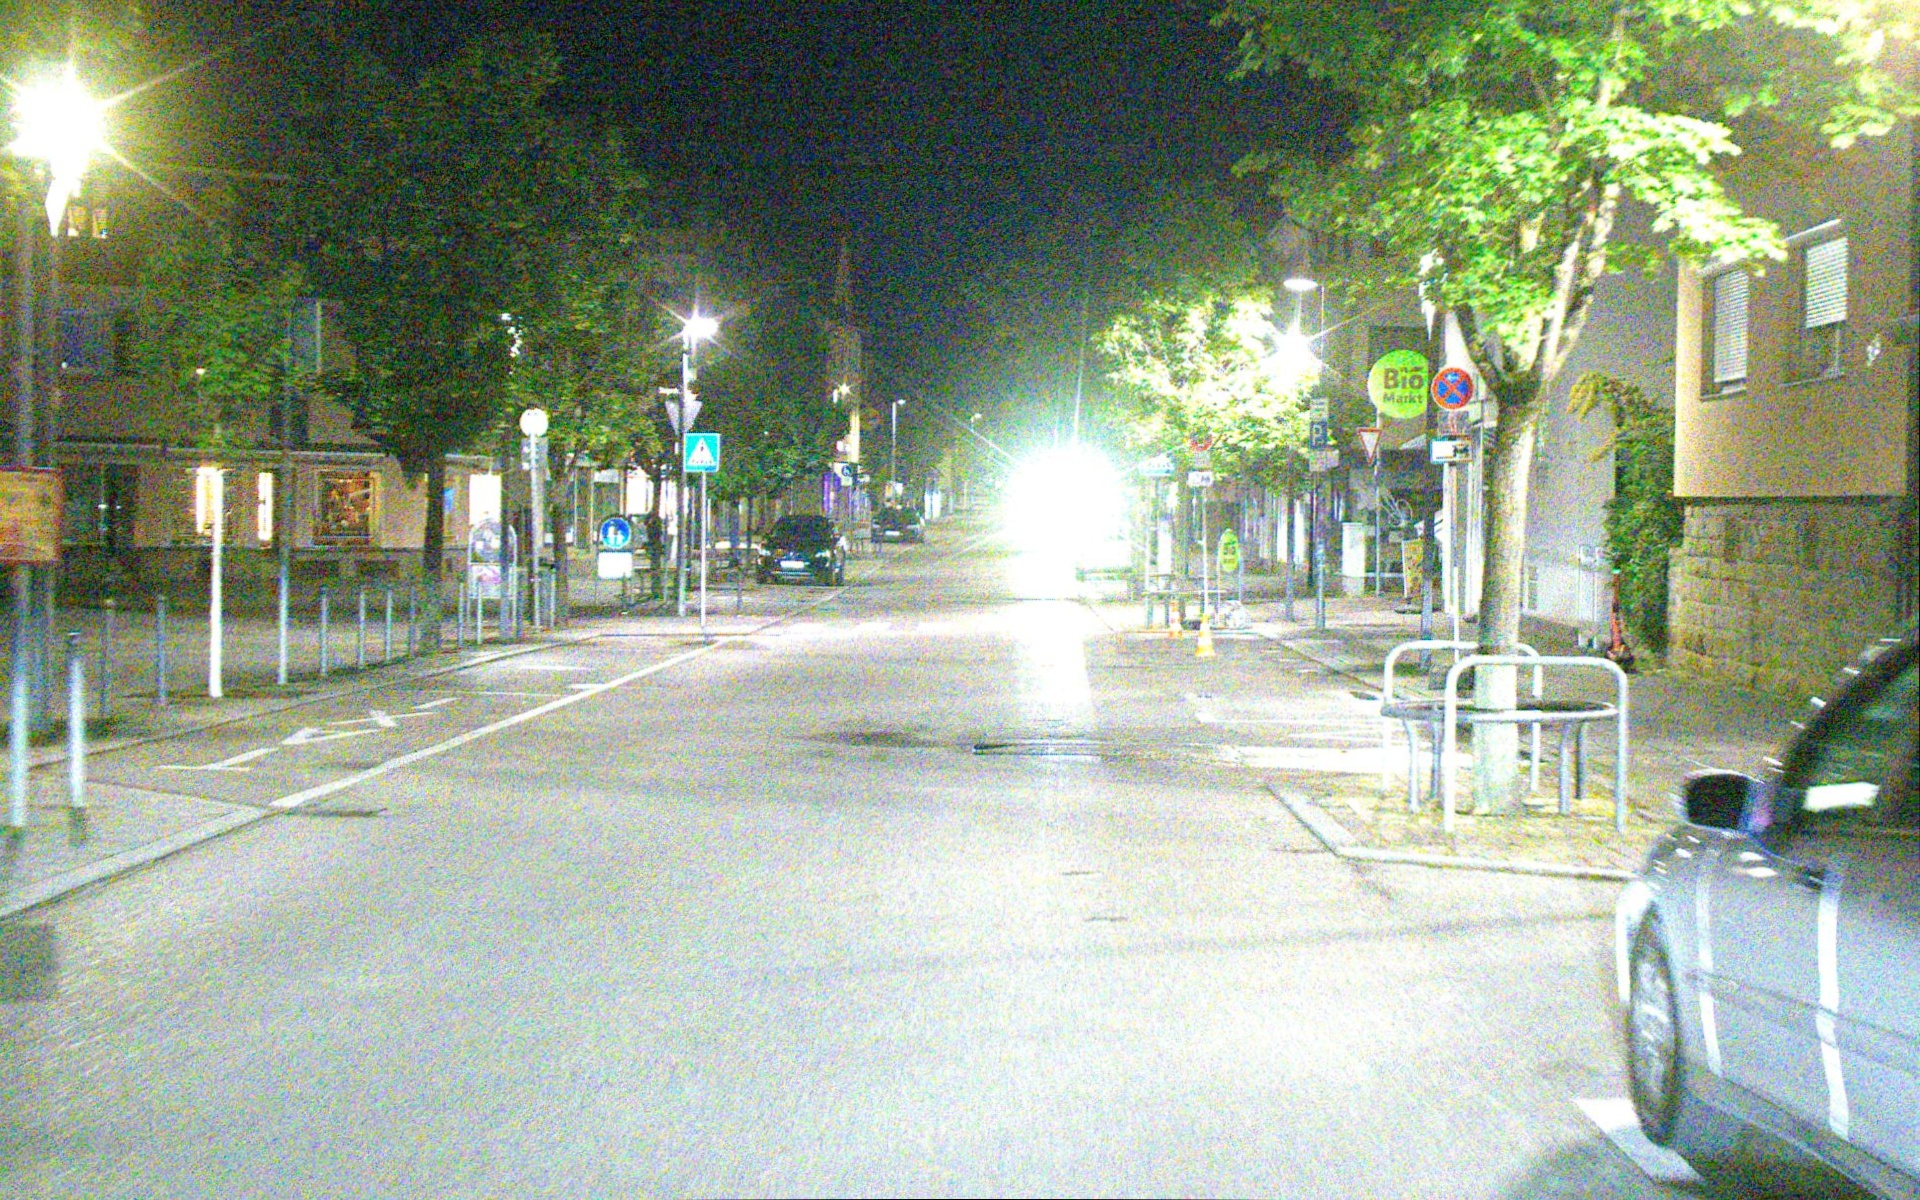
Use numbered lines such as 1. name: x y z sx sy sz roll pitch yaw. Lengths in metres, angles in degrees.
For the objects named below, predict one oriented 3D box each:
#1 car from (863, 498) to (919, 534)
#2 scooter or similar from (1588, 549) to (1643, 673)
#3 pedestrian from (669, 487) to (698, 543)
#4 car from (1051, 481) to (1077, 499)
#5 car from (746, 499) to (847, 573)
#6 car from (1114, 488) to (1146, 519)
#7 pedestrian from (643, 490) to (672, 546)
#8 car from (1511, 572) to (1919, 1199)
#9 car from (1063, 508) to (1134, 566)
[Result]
1. car: -2.761 -3.411 138.573 1.914 1.366 4.457 0 2 3
2. scooter or similar: 6.851 0.107 35.960 0.373 1.272 1.305 0 0 2
3. pedestrian: -8.317 -2.567 103.436 0.769 1.650 0.782 1 3 3
4. car: 7.474 -7.879 246.708 1.723 1.242 4.237 1 2 3
5. car: -3.981 -1.604 84.512 2.018 1.685 5.003 2 2 2
6. car: 9.490 -5.387 191.568 1.775 1.646 4.364 0 2 3
7. pedestrian: -9.111 -2.470 103.511 0.769 1.650 0.817 1 3 3
8. car: 2.504 0.691 7.039 1.734 1.436 4.497 0 1 -4
9. car: 3.613 -1.666 90.004 1.674 1.454 3.676 0 2 0
